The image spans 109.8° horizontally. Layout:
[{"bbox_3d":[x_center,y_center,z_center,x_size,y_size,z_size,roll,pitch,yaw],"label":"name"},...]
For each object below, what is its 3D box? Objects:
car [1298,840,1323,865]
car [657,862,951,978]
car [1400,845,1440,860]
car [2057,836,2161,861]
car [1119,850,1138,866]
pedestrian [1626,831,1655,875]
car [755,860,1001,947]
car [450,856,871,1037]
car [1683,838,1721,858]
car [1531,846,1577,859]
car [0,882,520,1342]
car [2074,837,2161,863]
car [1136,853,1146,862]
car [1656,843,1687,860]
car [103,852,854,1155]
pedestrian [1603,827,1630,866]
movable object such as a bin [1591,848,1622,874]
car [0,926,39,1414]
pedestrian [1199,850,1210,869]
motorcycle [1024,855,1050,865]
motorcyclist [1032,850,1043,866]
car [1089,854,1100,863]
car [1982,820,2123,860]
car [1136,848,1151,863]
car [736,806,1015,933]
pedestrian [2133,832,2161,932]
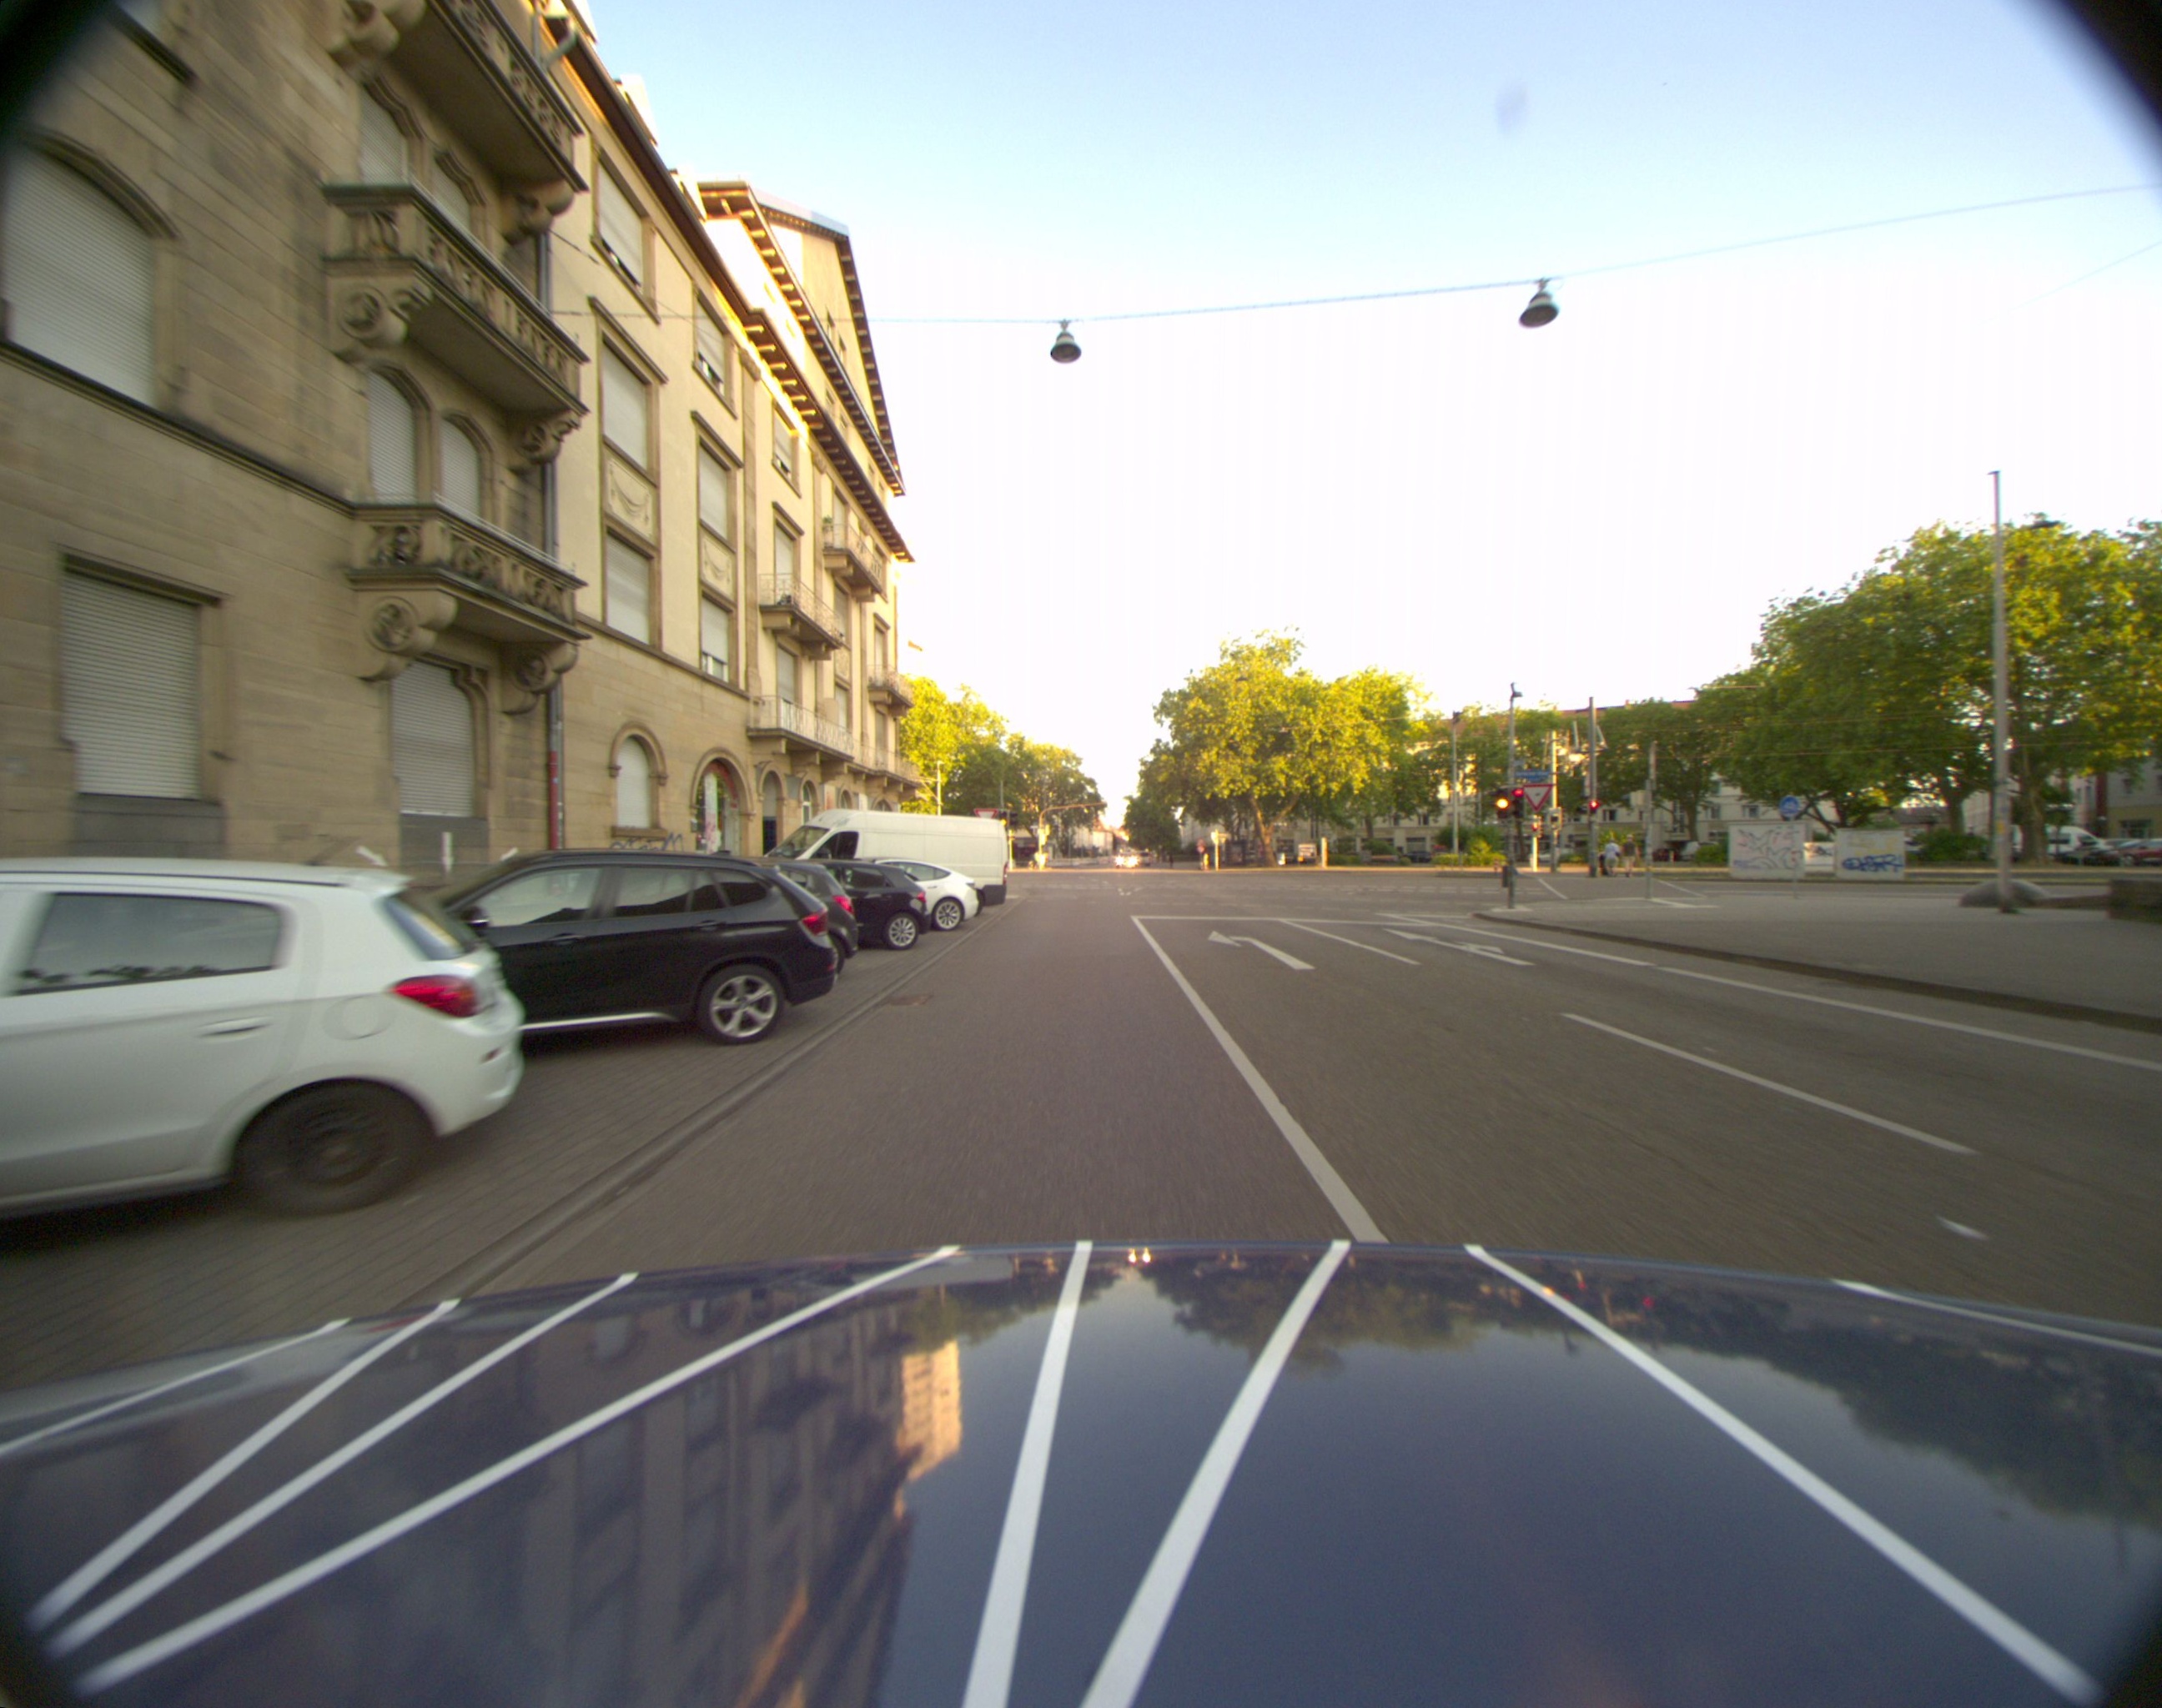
[{"bbox_3d":[18.738,-0.125,62.058,1.865,2.002,3.815,0,1,16],"label":"car"},{"bbox_3d":[-4.272,0.900,11.951,3.924,1.438,1.869,1,2,-39],"label":"car"},{"bbox_3d":[39.325,-0.162,88.155,3.988,1.696,2.004,0,1,34],"label":"car"},{"bbox_3d":[62.883,-0.346,46.208,3.989,1.474,1.757,-1,1,32],"label":"car"},{"bbox_3d":[4.694,0.361,74.811,1.840,1.549,4.001,-1,0,4],"label":"car"},{"bbox_3d":[23.741,-0.032,32.282,0.709,1.836,1.161,0,1,21],"label":"pedestrian"},{"bbox_3d":[-3.955,0.860,15.093,4.263,1.445,1.994,0,1,-37],"label":"car"},{"bbox_3d":[-4.625,0.845,8.649,3.925,1.536,1.712,1,2,-40],"label":"car"},{"bbox_3d":[59.040,-0.572,72.356,1.995,1.826,4.325,0,0,28],"label":"car"},{"bbox_3d":[50.744,-0.144,81.590,3.991,1.410,1.812,0,1,20],"label":"car"},{"bbox_3d":[-4.758,0.909,2.951,4.065,1.490,1.749,1,1,-34],"label":"car"},{"bbox_3d":[61.545,-0.237,44.345,3.989,1.474,1.757,-1,1,32],"label":"car"},{"bbox_3d":[11.034,0.581,140.260,1.827,1.565,4.001,-1,0,5],"label":"car"},{"bbox_3d":[62.692,-0.313,80.731,1.995,1.729,4.007,0,1,29],"label":"car"},{"bbox_3d":[-4.156,0.838,6.042,4.107,1.598,1.811,1,1,-37],"label":"car"},{"bbox_3d":[22.905,-0.327,32.485,0.718,1.625,1.008,0,1,21],"label":"pedestrian"},{"bbox_3d":[23.210,0.296,33.584,0.860,1.113,1.139,0,1,21],"label":"movable object such as a bin"},{"bbox_3d":[-4.439,0.910,0.483,4.042,1.423,1.863,2,1,-33],"label":"car"},{"bbox_3d":[10.715,0.472,65.924,0.745,1.619,0.660,-1,1,18],"label":"pedestrian"},{"bbox_3d":[-4.098,0.579,71.035,2.288,0.917,0.621,-1,1,-24],"label":"motorcycle"},{"bbox_3d":[-4.063,0.400,71.047,0.830,1.511,0.621,-1,1,-24],"label":"motorcyclist"},{"bbox_3d":[2.419,0.893,138.480,1.794,1.571,4.001,-1,0,4],"label":"car"},{"bbox_3d":[65.465,-0.903,51.351,5.565,2.603,2.003,-1,1,25],"label":"car"},{"bbox_3d":[8.255,0.188,100.479,1.991,1.945,4.597,-1,0,4],"label":"car"},{"bbox_3d":[-4.632,0.279,17.815,5.897,2.537,2.189,0,2,-40],"label":"car"},{"bbox_3d":[16.001,0.407,10.950,0.628,1.445,0.917,0,1,27],"label":"pedestrian"}]
